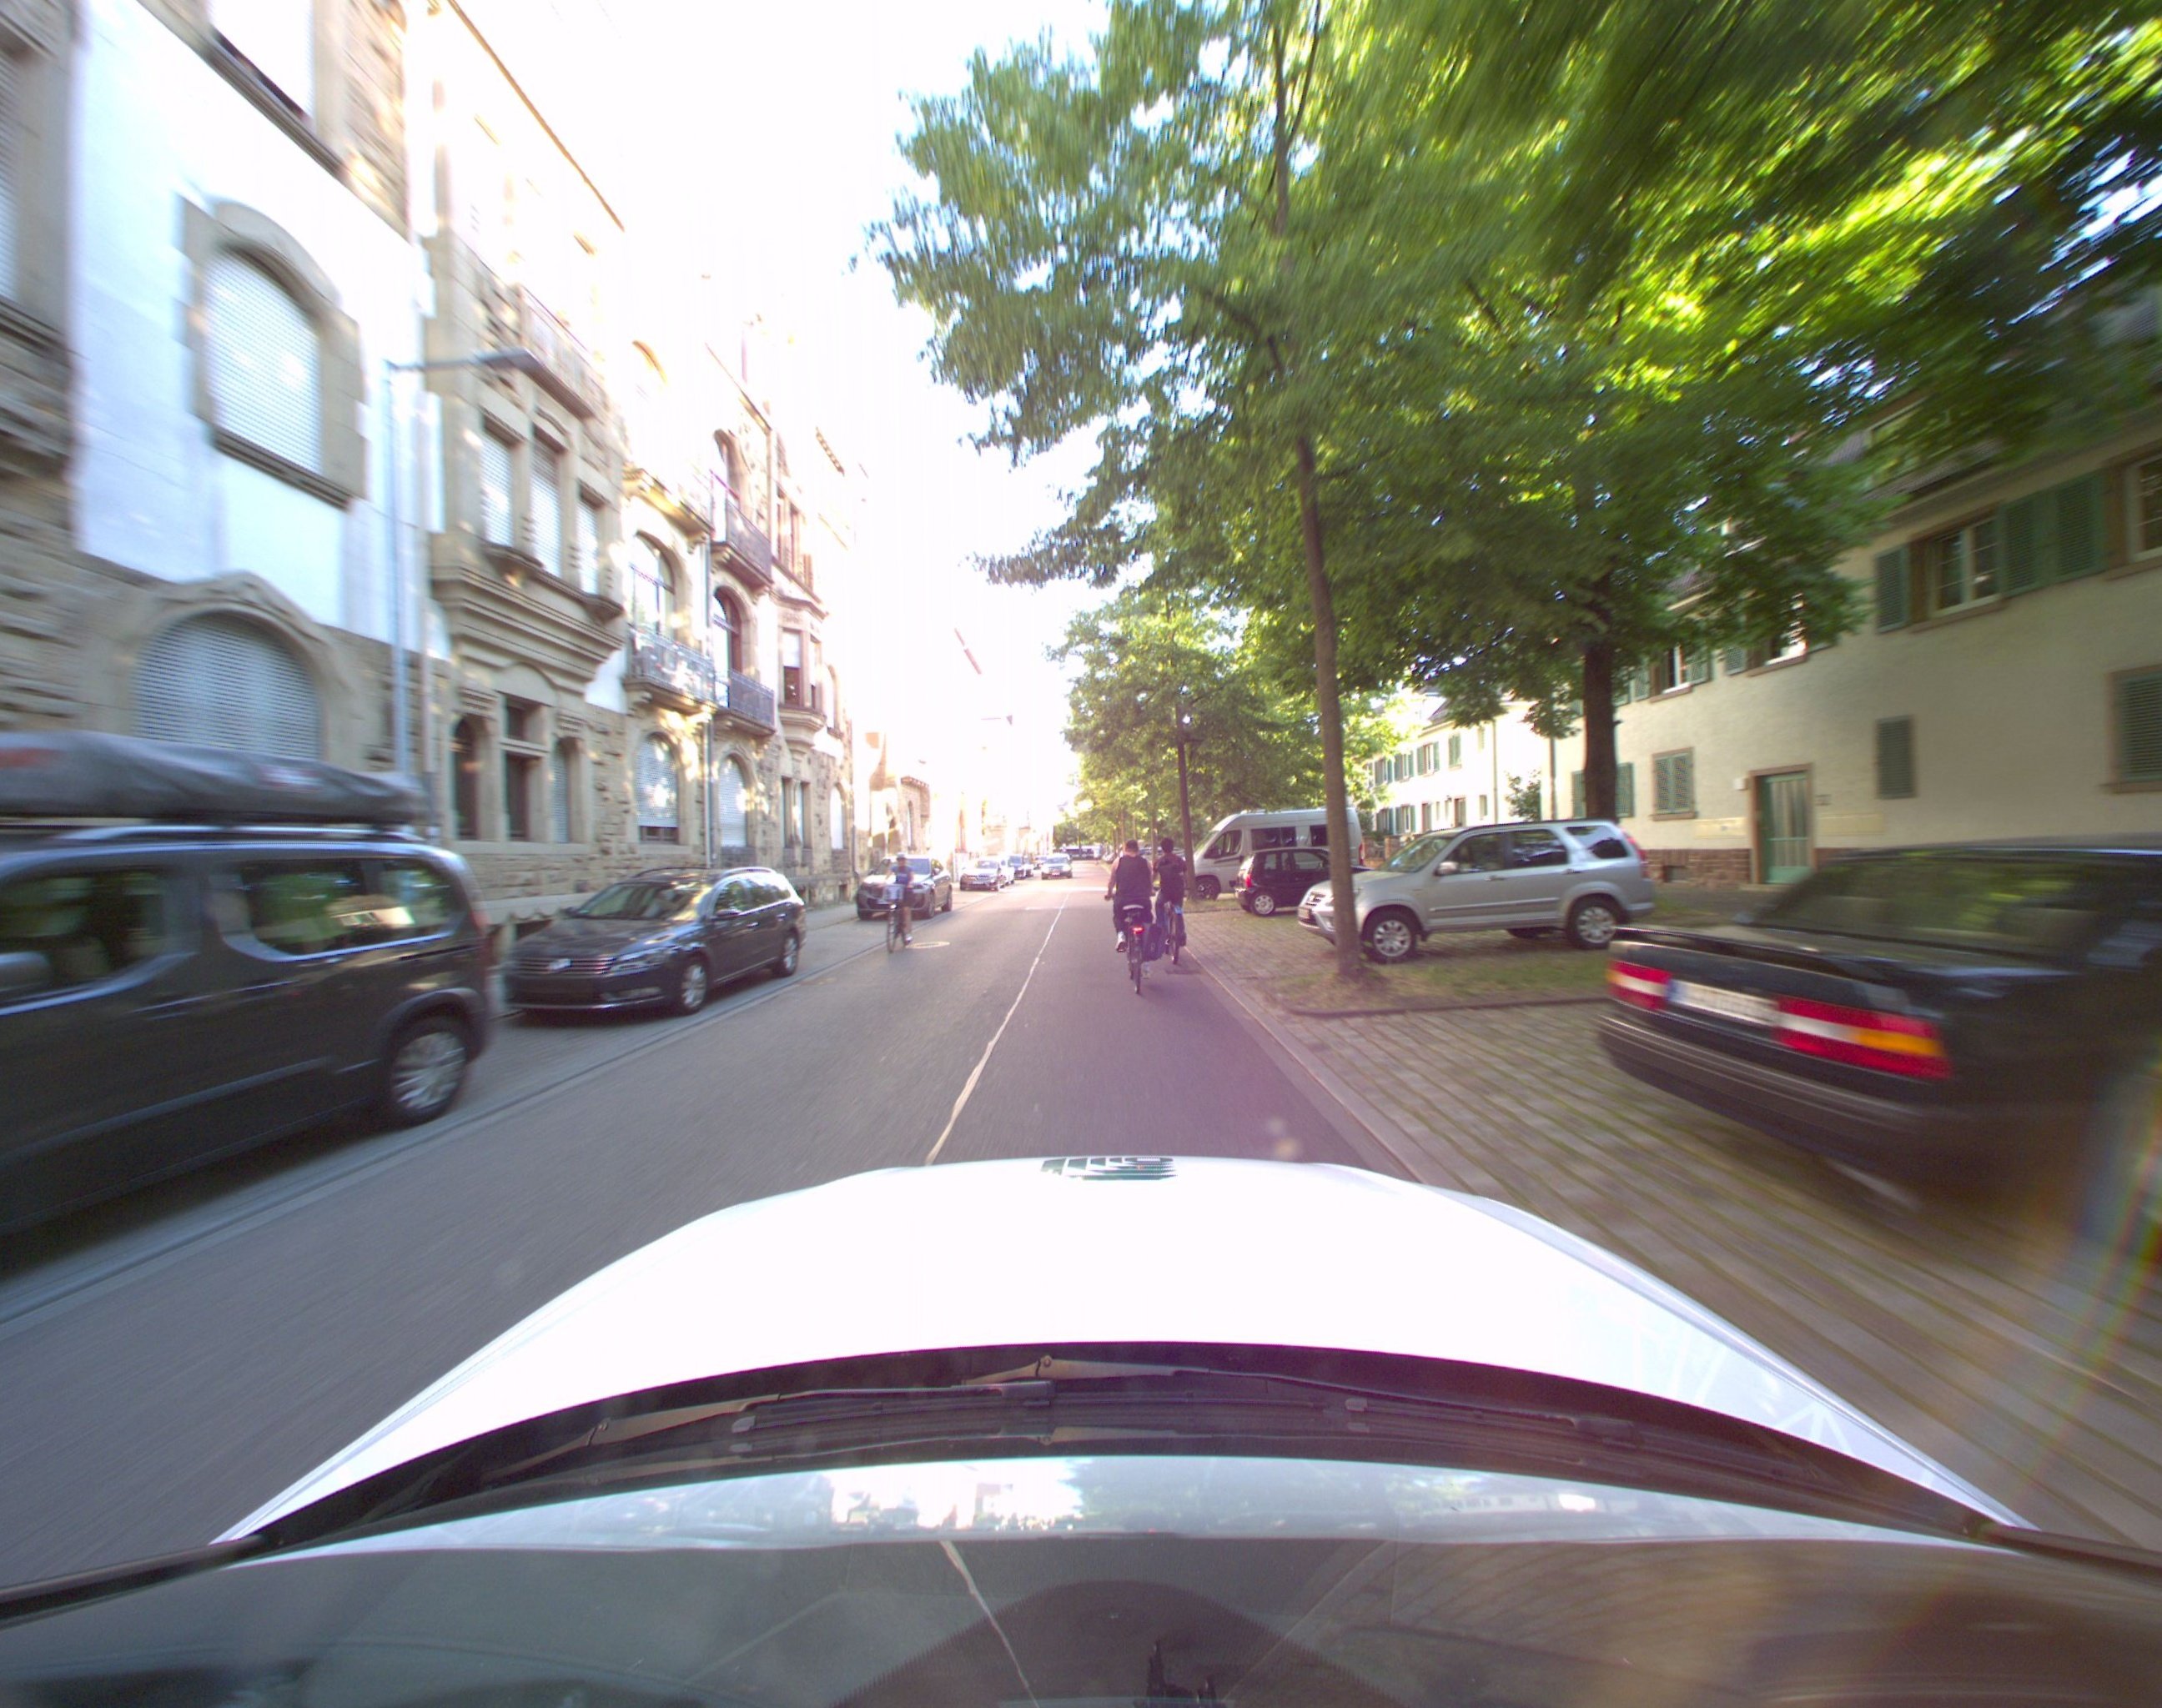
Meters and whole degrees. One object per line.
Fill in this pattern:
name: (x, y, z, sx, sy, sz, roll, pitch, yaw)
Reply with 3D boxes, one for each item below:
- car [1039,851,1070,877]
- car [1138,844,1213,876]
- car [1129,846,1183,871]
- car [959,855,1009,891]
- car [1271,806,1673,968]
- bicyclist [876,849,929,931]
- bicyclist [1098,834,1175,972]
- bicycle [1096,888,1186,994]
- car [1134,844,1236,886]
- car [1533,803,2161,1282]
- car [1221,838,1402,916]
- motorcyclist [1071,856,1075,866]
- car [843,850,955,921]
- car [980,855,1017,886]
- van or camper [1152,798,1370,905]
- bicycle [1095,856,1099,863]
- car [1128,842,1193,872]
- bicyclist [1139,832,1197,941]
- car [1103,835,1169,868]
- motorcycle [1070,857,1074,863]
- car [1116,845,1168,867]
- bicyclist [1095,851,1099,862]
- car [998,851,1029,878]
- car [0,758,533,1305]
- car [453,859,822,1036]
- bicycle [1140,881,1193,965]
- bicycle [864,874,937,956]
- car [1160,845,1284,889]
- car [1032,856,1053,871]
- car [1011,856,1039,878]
car: (-1.702, 0.649, 51.951, 1.892, 1.486, 4.377, -2, -1, -2)
car: (5.584, 0.353, 48.498, 4.228, 1.647, 1.855, -3, -1, 1)
car: (6.063, 0.361, 66.398, 4.228, 1.797, 1.855, -3, -1, 1)
car: (-4.459, 0.845, 37.991, 1.749, 1.517, 4.114, 2, -1, 0)
car: (5.085, 0.386, 11.049, 4.463, 1.669, 1.941, -4, 1, -2)
bicyclist: (-3.108, 0.598, 14.255, 0.663, 1.345, 1.059, -3, 0, -3)
bicyclist: (0.633, 0.557, 9.619, 0.705, 1.527, 0.969, -1, -1, -7)
bicycle: (0.665, 0.975, 9.726, 0.695, 1.073, 1.964, -2, -1, -6)
car: (4.624, 0.482, 36.616, 4.233, 1.606, 1.752, -3, -1, -3)
car: (5.010, 0.488, 3.635, 4.880, 1.442, 1.941, -4, -1, -2)
car: (5.040, 0.502, 18.173, 3.490, 1.472, 1.751, -3, -1, -1)
motorcyclist: (-1.199, 1.114, 123.484, 0.549, 1.448, 0.687, -2, 0, -2)
car: (-4.701, 0.794, 21.735, 2.044, 1.622, 4.392, -2, -1, -1)
car: (-4.341, 0.866, 43.401, 1.486, 1.517, 3.775, 2, -1, 1)
van or camper: (5.006, -0.053, 23.296, 5.559, 2.536, 2.267, -4, -1, -2)
bicycle: (1.992, 0.664, 101.244, 0.539, 0.828, 1.919, -1, -1, 1)
car: (5.436, 0.230, 55.911, 4.228, 1.840, 1.855, -3, -1, 1)
bicyclist: (1.268, 0.463, 12.054, 0.716, 1.527, 0.972, -2, -1, 0)
car: (6.269, -0.259, 93.251, 7.306, 3.282, 2.223, -3, -1, 1)
motorcycle: (-1.436, 0.943, 123.252, 0.549, 0.801, 1.307, -2, 0, -2)
car: (5.669, 0.189, 76.538, 4.739, 1.780, 1.855, -3, -1, 1)
bicyclist: (1.978, 0.270, 101.247, 0.415, 1.350, 0.430, -2, -1, 0)
car: (-4.360, 0.681, 52.998, 1.626, 1.665, 3.967, -2, -1, -1)
car: (-4.906, 0.645, 3.614, 1.963, 1.974, 4.495, 0, 0, -1)
car: (-4.835, 0.902, 9.837, 1.723, 1.574, 4.710, -2, -1, 2)
bicycle: (1.236, 0.976, 12.090, 0.553, 1.073, 1.968, -2, 0, 0)
bicycle: (-3.105, 1.011, 14.272, 0.751, 1.178, 2.618, -3, 1, -3)
car: (5.351, 0.488, 31.352, 4.486, 1.453, 1.816, -2, -1, 1)
car: (-4.000, 1.016, 84.362, 1.987, 1.486, 3.998, -2, -1, -1)
car: (-3.998, 0.941, 58.683, 1.610, 1.482, 4.018, 2, -1, 1)
